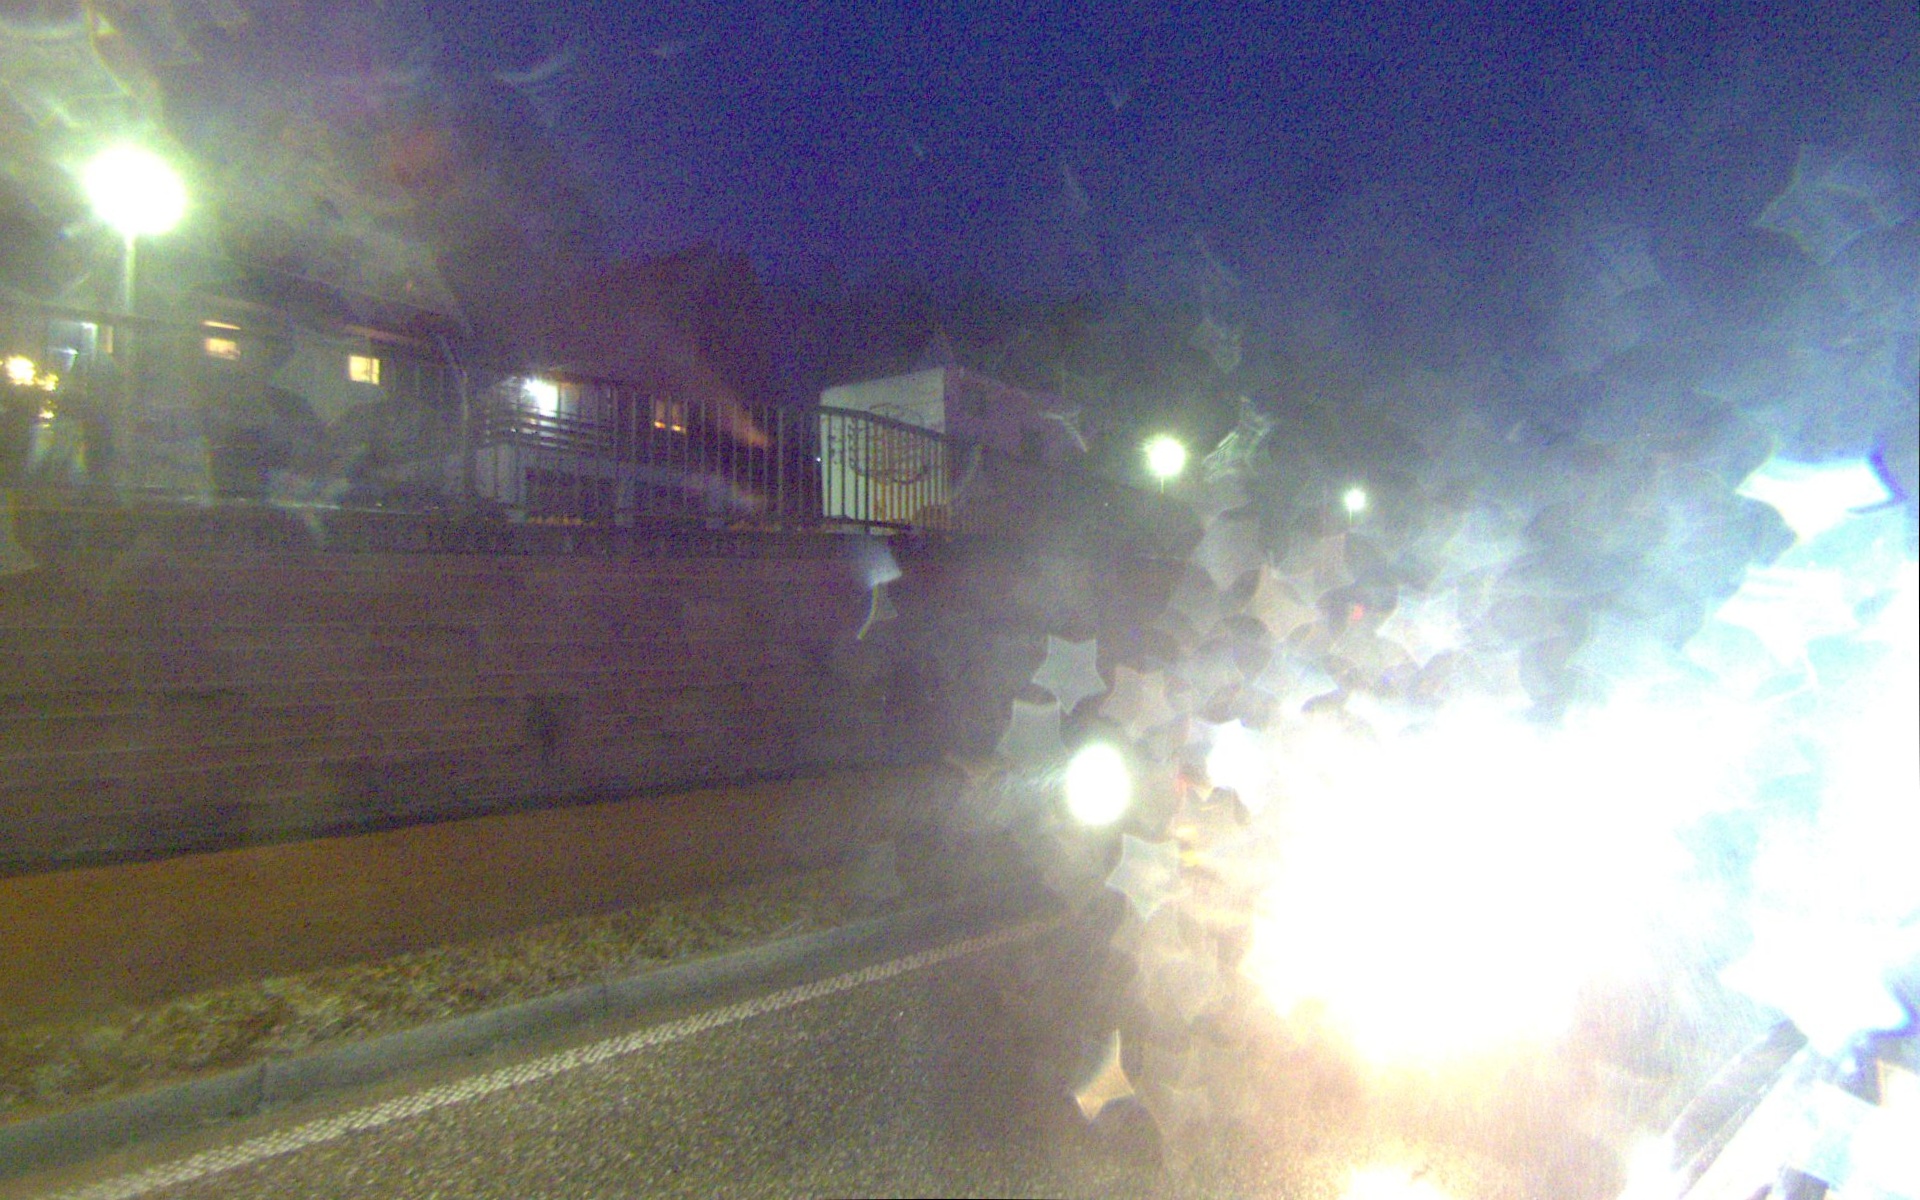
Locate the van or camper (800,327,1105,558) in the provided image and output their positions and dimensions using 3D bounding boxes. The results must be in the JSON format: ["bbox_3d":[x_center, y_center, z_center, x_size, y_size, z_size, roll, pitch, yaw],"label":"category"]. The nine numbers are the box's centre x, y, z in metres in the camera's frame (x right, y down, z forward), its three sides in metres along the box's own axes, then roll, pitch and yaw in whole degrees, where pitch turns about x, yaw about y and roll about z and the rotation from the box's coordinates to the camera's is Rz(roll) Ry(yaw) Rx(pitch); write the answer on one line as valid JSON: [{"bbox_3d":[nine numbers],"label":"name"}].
[{"bbox_3d":[0.160,-2.190,16.323,2.395,2.828,5.712,0,0,30],"label":"van or camper"}]

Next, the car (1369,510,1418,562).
[{"bbox_3d":[25.218,-3.665,58.806,1.922,2.809,4.206,0,0,32],"label":"car"}]

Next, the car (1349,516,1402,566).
[{"bbox_3d":[22.334,-3.115,54.297,1.922,2.451,4.206,0,0,32],"label":"car"}]

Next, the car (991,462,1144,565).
[{"bbox_3d":[2.561,-1.875,23.345,1.985,2.039,3.954,0,0,32],"label":"car"}]

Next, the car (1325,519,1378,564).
[{"bbox_3d":[19.303,-2.849,49.833,1.721,2.039,3.658,0,0,32],"label":"car"}]

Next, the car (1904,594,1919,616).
[{"bbox_3d":[92.956,0.489,96.644,1.964,2.039,3.996,0,0,3],"label":"car"}]

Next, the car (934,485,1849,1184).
[{"bbox_3d":[2.371,0.559,4.766,4.851,1.757,1.839,-1,0,-38],"label":"car"}]

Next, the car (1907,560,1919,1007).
[{"bbox_3d":[5.626,0.637,4.358,4.278,1.602,1.825,-1,0,-41],"label":"car"}]
